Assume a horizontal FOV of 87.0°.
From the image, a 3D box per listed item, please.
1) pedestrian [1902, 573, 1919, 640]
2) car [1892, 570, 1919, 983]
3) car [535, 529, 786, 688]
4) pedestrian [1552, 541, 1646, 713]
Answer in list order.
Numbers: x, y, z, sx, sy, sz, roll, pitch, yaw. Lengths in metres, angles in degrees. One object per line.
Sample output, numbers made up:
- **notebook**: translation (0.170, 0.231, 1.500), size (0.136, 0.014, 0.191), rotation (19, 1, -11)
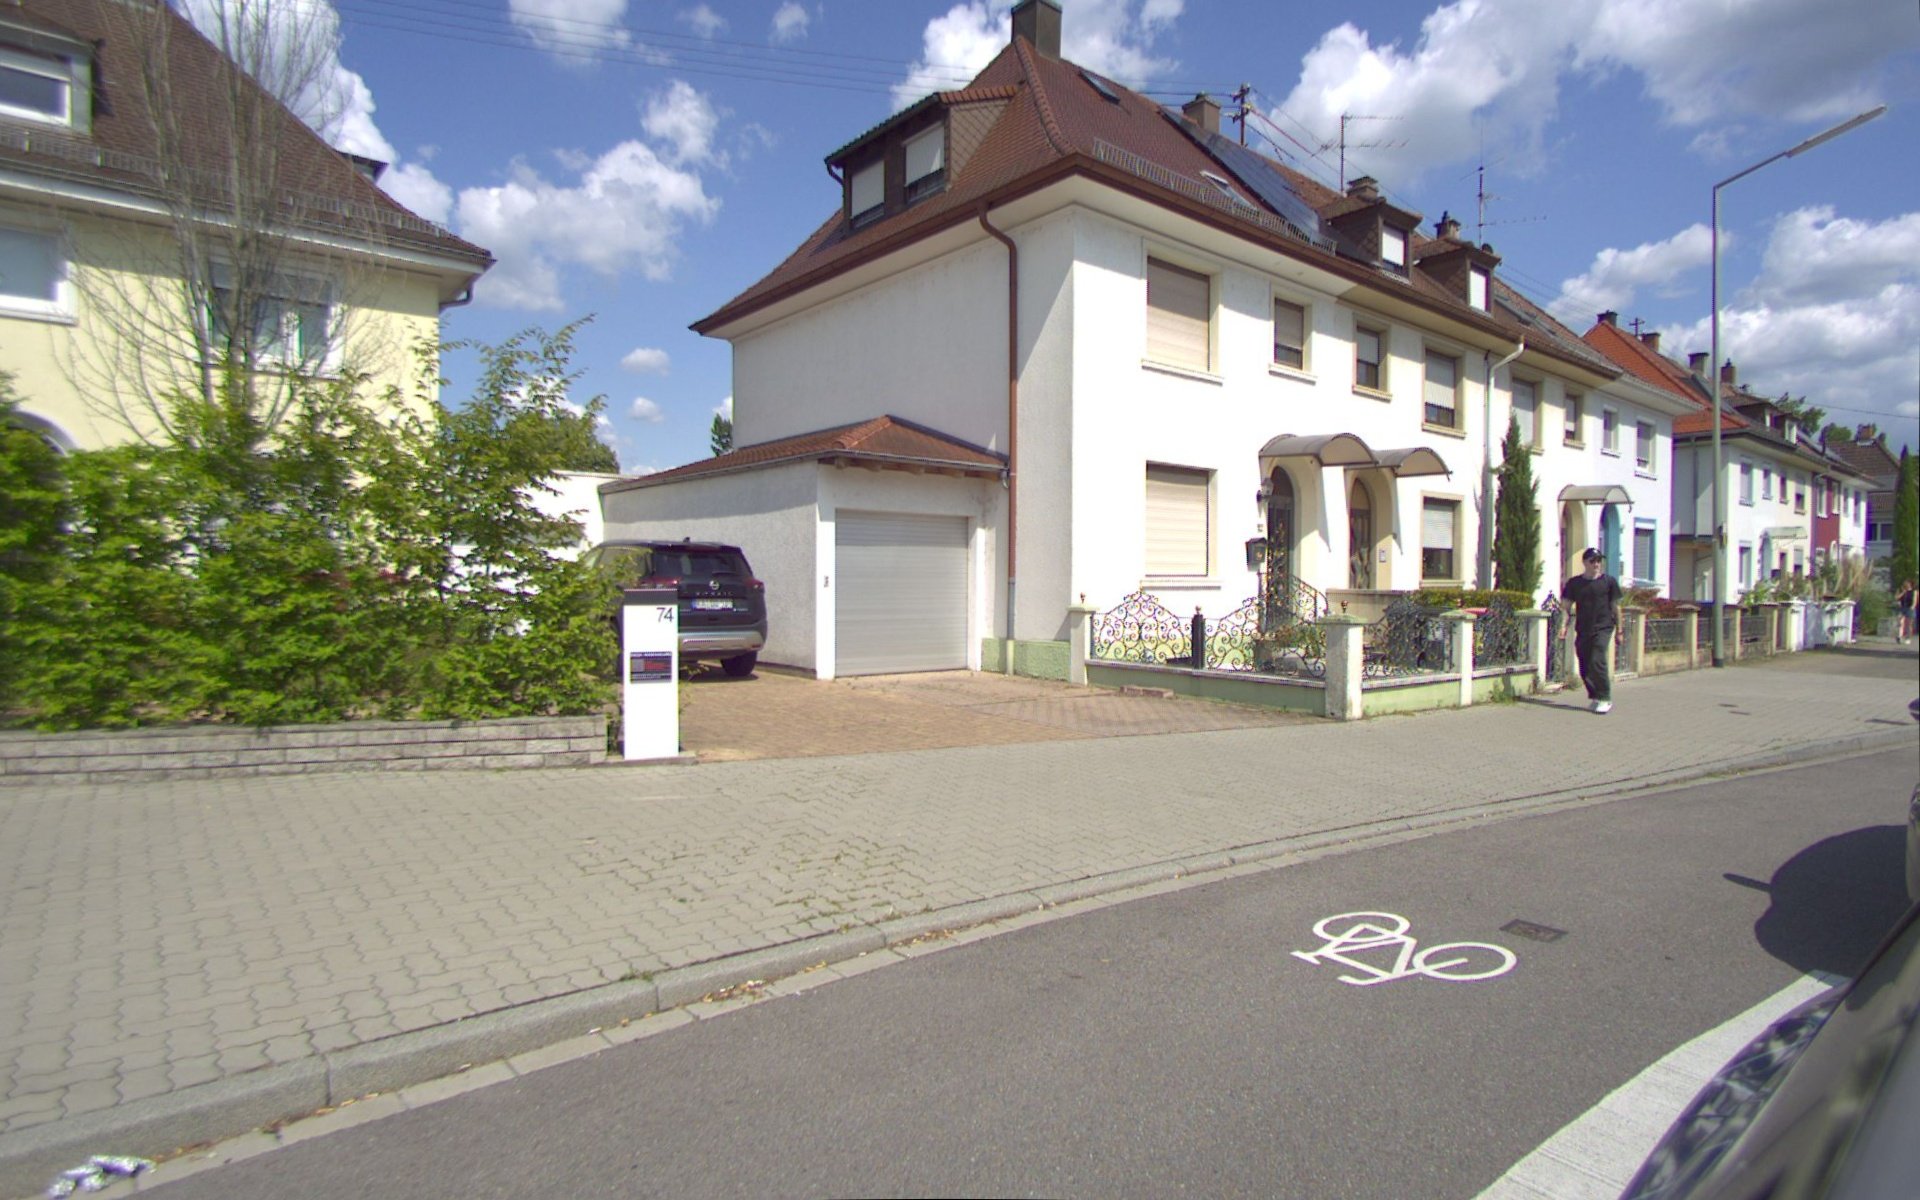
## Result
- **pedestrian**: translation (25.074, 0.155, 26.480), size (0.607, 1.732, 0.519), rotation (0, 1, -39)
- **car**: translation (5.712, 0.645, 4.616), size (4.607, 1.492, 1.764), rotation (0, 1, -43)
- **car**: translation (-4.024, 0.041, 13.177), size (1.833, 1.729, 3.998), rotation (0, 1, -37)
- **pedestrian**: translation (6.989, 0.269, 11.064), size (0.921, 1.790, 0.592), rotation (0, 1, -41)
